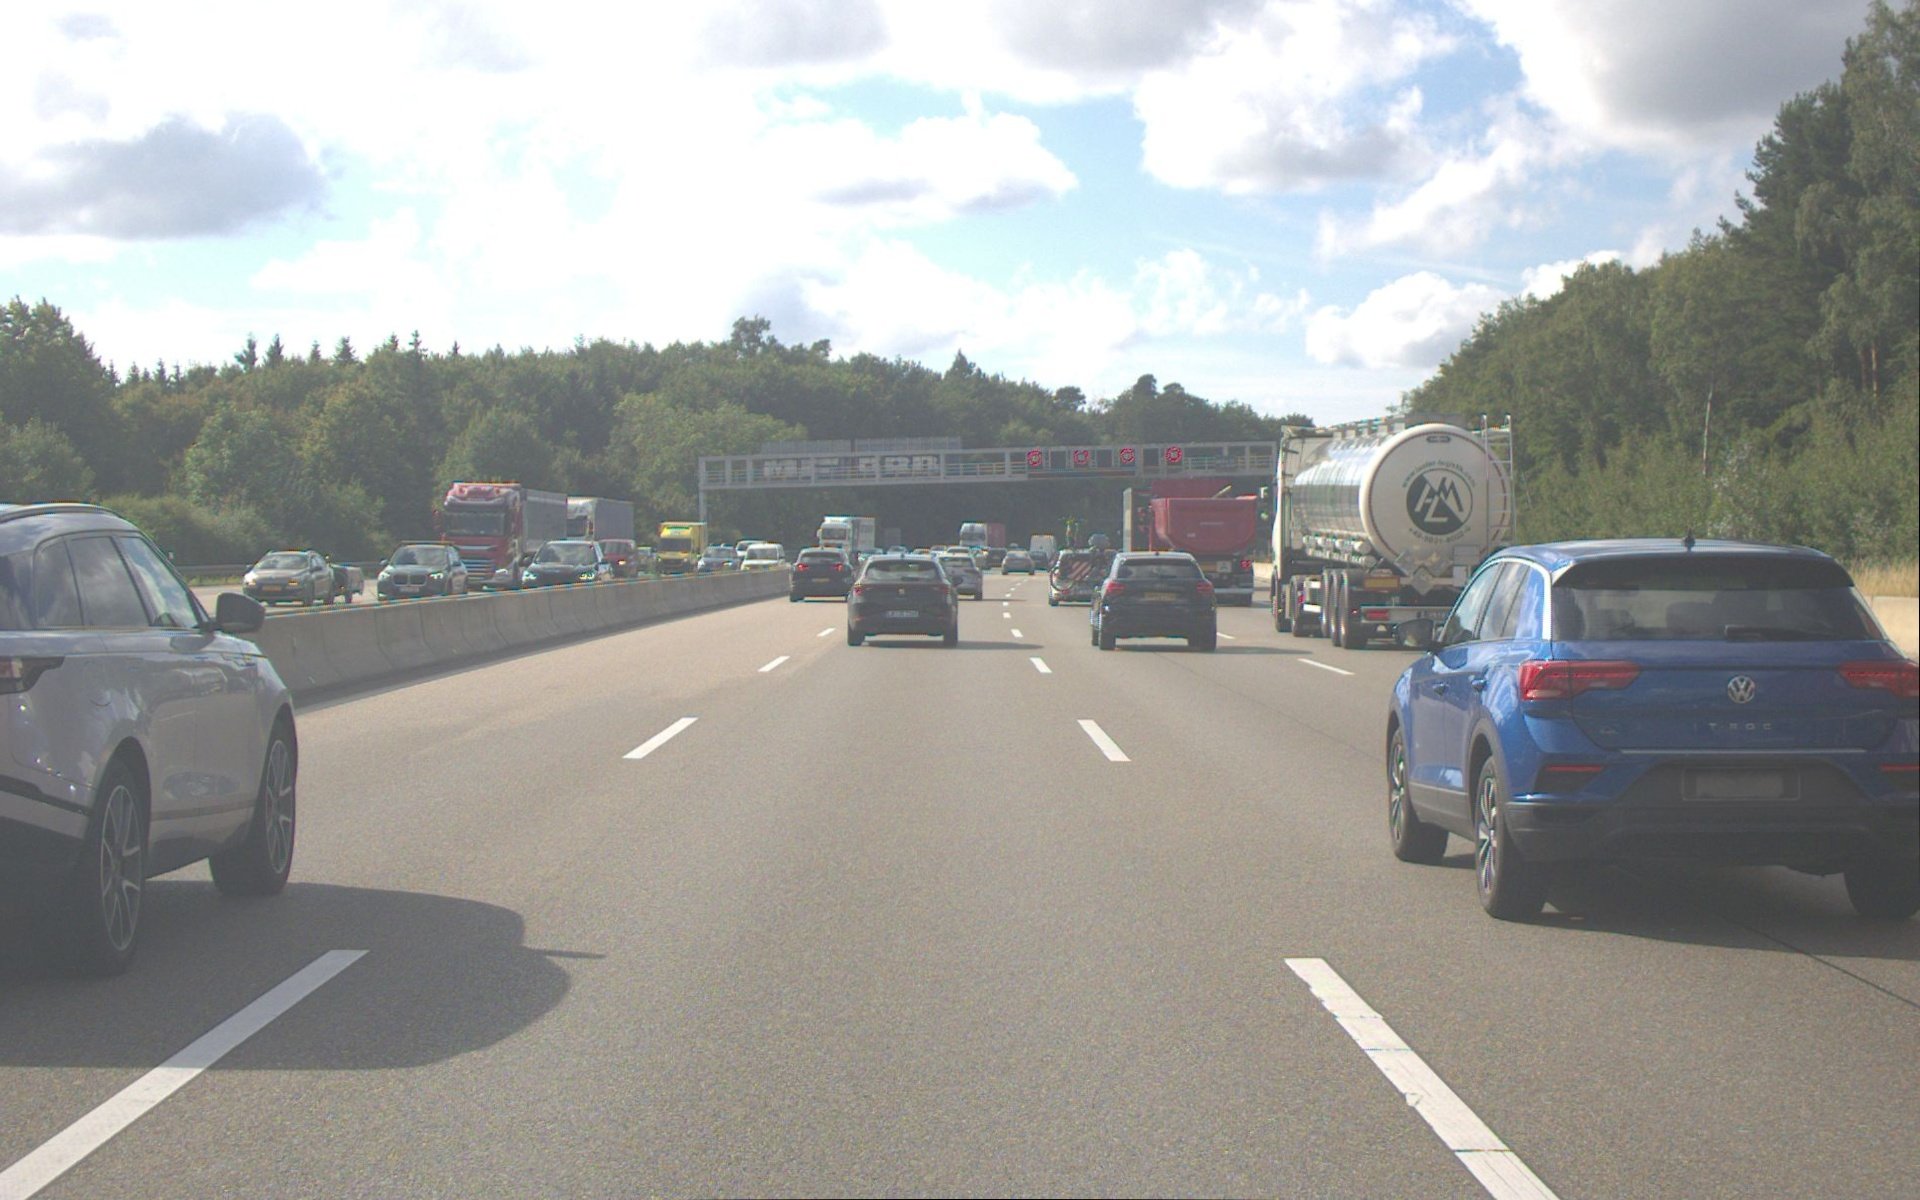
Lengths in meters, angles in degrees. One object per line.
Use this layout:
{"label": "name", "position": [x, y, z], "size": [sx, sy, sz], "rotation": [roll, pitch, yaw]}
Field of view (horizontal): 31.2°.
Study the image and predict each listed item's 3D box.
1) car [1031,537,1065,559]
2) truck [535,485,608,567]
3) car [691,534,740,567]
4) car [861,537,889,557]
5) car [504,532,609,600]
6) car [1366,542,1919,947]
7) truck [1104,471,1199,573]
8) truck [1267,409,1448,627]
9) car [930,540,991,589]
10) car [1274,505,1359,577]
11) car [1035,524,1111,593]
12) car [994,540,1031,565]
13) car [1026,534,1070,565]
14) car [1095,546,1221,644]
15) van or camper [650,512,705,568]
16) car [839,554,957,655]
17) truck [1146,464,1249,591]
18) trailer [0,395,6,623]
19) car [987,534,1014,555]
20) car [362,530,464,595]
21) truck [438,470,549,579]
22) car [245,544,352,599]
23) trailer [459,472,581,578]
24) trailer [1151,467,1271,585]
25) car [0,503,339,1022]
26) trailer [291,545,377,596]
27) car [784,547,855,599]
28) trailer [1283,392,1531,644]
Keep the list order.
{"label": "car", "position": [5.857, -3.480, 229.402], "size": [2.077, 1.452, 4.000], "rotation": [-1, 1, -2]}
{"label": "truck", "position": [-19.823, -3.774, 175.725], "size": [2.819, 4.080, 6.061], "rotation": [0, 1, 2]}
{"label": "car", "position": [-12.261, -2.518, 172.587], "size": [1.844, 1.590, 4.913], "rotation": [-1, 1, 3]}
{"label": "car", "position": [-6.210, -3.894, 250.977], "size": [1.929, 1.452, 4.251], "rotation": [0, 1, 0]}
{"label": "car", "position": [-10.393, -0.895, 88.804], "size": [2.154, 1.694, 5.351], "rotation": [0, 1, -1]}
{"label": "car", "position": [2.979, 0.511, 15.314], "size": [1.773, 1.525, 4.458], "rotation": [0, 1, 0]}
{"label": "truck", "position": [7.612, -3.093, 138.120], "size": [3.118, 3.921, 10.412], "rotation": [0, 1, -1]}
{"label": "truck", "position": [7.254, -1.491, 63.435], "size": [2.649, 3.810, 6.082], "rotation": [0, 1, 0]}
{"label": "car", "position": [0.028, -1.106, 106.224], "size": [1.822, 1.452, 4.000], "rotation": [0, 1, 1]}
{"label": "car", "position": [9.918, -1.648, 95.811], "size": [1.893, 1.950, 4.100], "rotation": [1, 1, 0]}
{"label": "car", "position": [3.127, -1.173, 95.708], "size": [1.893, 1.850, 4.101], "rotation": [1, 1, -1]}
{"label": "car", "position": [3.150, -2.844, 207.224], "size": [2.077, 1.452, 4.000], "rotation": [-1, 1, -2]}
{"label": "car", "position": [4.369, -2.522, 171.574], "size": [1.942, 1.452, 4.000], "rotation": [-1, 1, -2]}
{"label": "car", "position": [3.047, -0.102, 53.518], "size": [1.822, 1.452, 4.000], "rotation": [0, 1, 1]}
{"label": "van or camper", "position": [-14.978, -3.205, 182.772], "size": [2.374, 2.882, 6.506], "rotation": [-1, 1, 0]}
{"label": "car", "position": [-0.969, 0.047, 55.060], "size": [1.822, 1.541, 4.000], "rotation": [0, 1, 0]}
{"label": "truck", "position": [7.174, -2.228, 104.526], "size": [2.710, 3.706, 5.818], "rotation": [1, 2, 0]}
{"label": "trailer", "position": [-17.989, -1.472, 53.576], "size": [2.788, 3.932, 12.253], "rotation": [0, 1, 0]}
{"label": "car", "position": [2.879, -3.937, 245.394], "size": [1.929, 1.452, 4.392], "rotation": [-1, 1, 0]}
{"label": "car", "position": [-14.284, -1.002, 90.005], "size": [1.994, 1.658, 4.687], "rotation": [0, 1, -1]}
{"label": "truck", "position": [-16.971, -2.737, 125.440], "size": [2.967, 3.845, 6.765], "rotation": [0, 1, 1]}
{"label": "car", "position": [-17.507, -0.783, 91.170], "size": [1.827, 1.409, 4.675], "rotation": [0, 1, 1]}
{"label": "trailer", "position": [-16.763, -2.849, 131.740], "size": [2.967, 3.845, 11.281], "rotation": [0, 1, 1]}
{"label": "trailer", "position": [7.186, -2.184, 99.558], "size": [2.710, 3.220, 9.733], "rotation": [1, 2, 0]}
{"label": "car", "position": [-3.856, 0.445, 13.328], "size": [2.006, 1.611, 5.301], "rotation": [1, 1, -1]}
{"label": "trailer", "position": [-17.382, -0.840, 95.596], "size": [1.534, 1.397, 4.180], "rotation": [0, 1, 1]}
{"label": "car", "position": [-4.120, -0.821, 101.461], "size": [1.942, 1.452, 4.000], "rotation": [-1, 1, -1]}
{"label": "trailer", "position": [7.249, -1.336, 57.398], "size": [2.649, 3.754, 11.860], "rotation": [0, 1, 0]}
